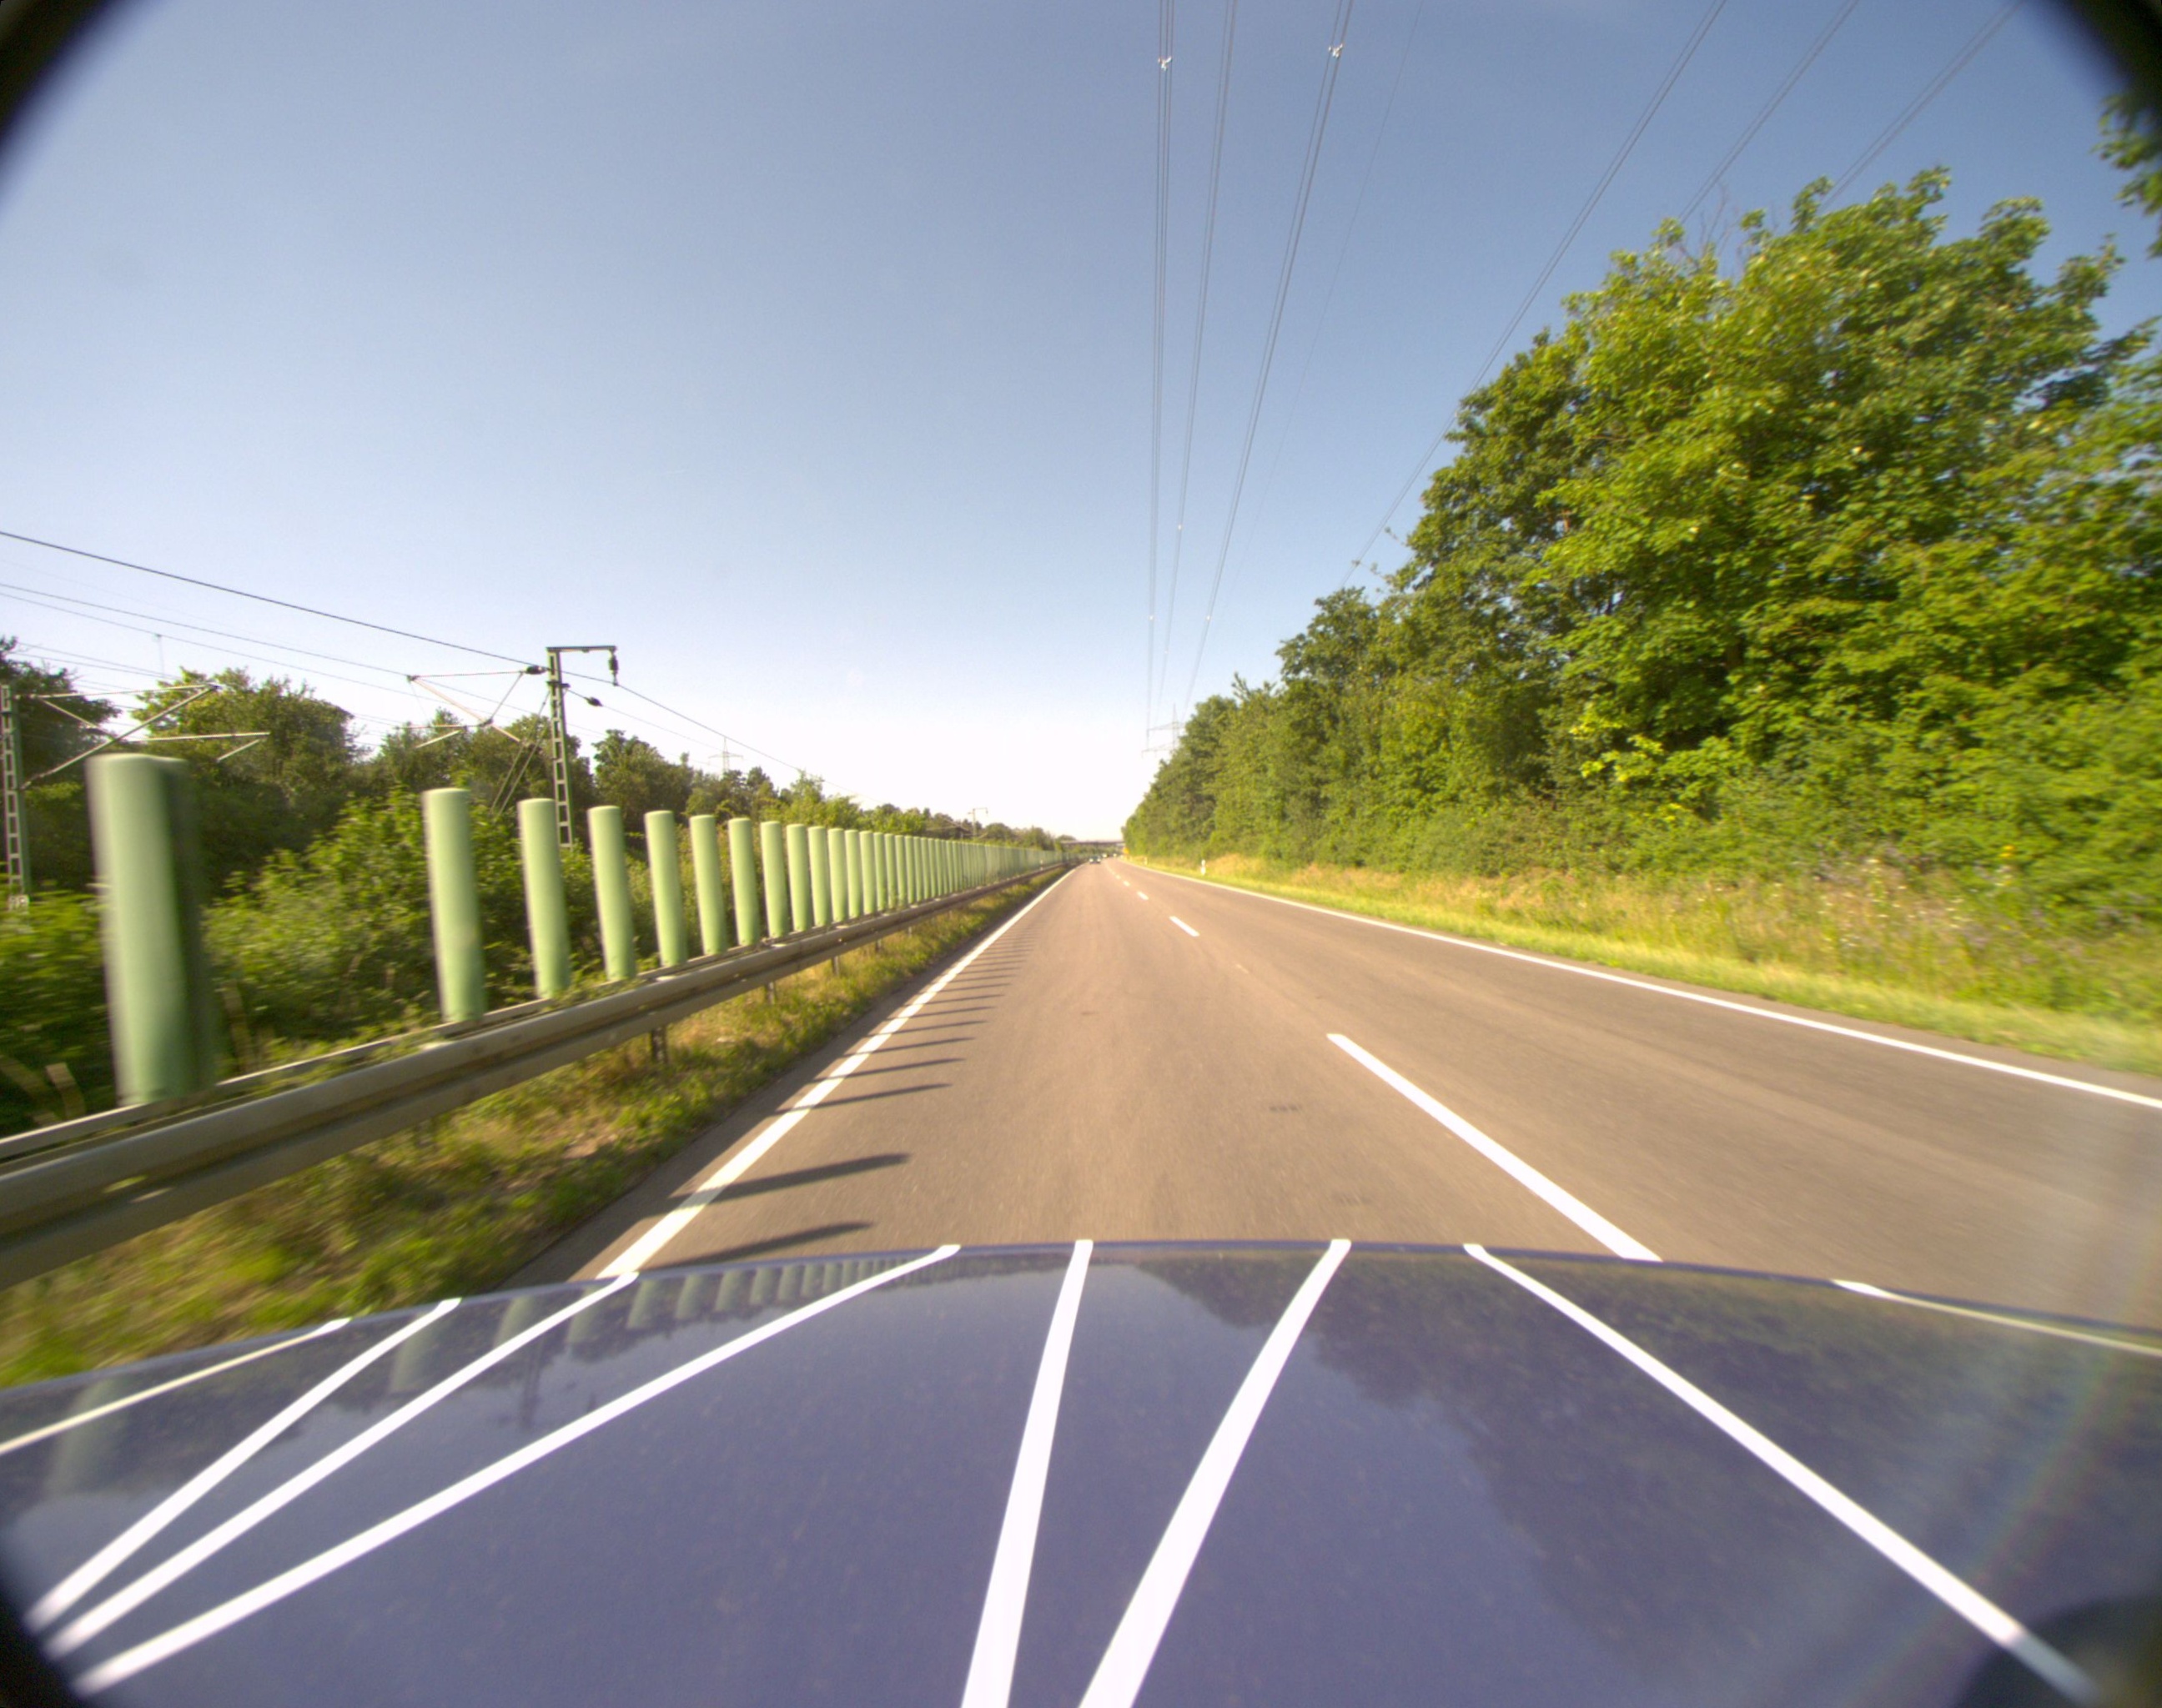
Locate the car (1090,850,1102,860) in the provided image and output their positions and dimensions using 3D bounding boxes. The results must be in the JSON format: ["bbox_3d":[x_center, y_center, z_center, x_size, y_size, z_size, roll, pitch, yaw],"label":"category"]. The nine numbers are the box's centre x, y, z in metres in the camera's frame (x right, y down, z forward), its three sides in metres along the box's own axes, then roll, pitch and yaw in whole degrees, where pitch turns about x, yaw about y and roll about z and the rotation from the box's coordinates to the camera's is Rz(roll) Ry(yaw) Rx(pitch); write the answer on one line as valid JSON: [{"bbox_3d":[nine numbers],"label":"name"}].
[{"bbox_3d":[2.547,0.163,127.610,1.787,1.550,4.000,-1,0,2],"label":"car"}]
